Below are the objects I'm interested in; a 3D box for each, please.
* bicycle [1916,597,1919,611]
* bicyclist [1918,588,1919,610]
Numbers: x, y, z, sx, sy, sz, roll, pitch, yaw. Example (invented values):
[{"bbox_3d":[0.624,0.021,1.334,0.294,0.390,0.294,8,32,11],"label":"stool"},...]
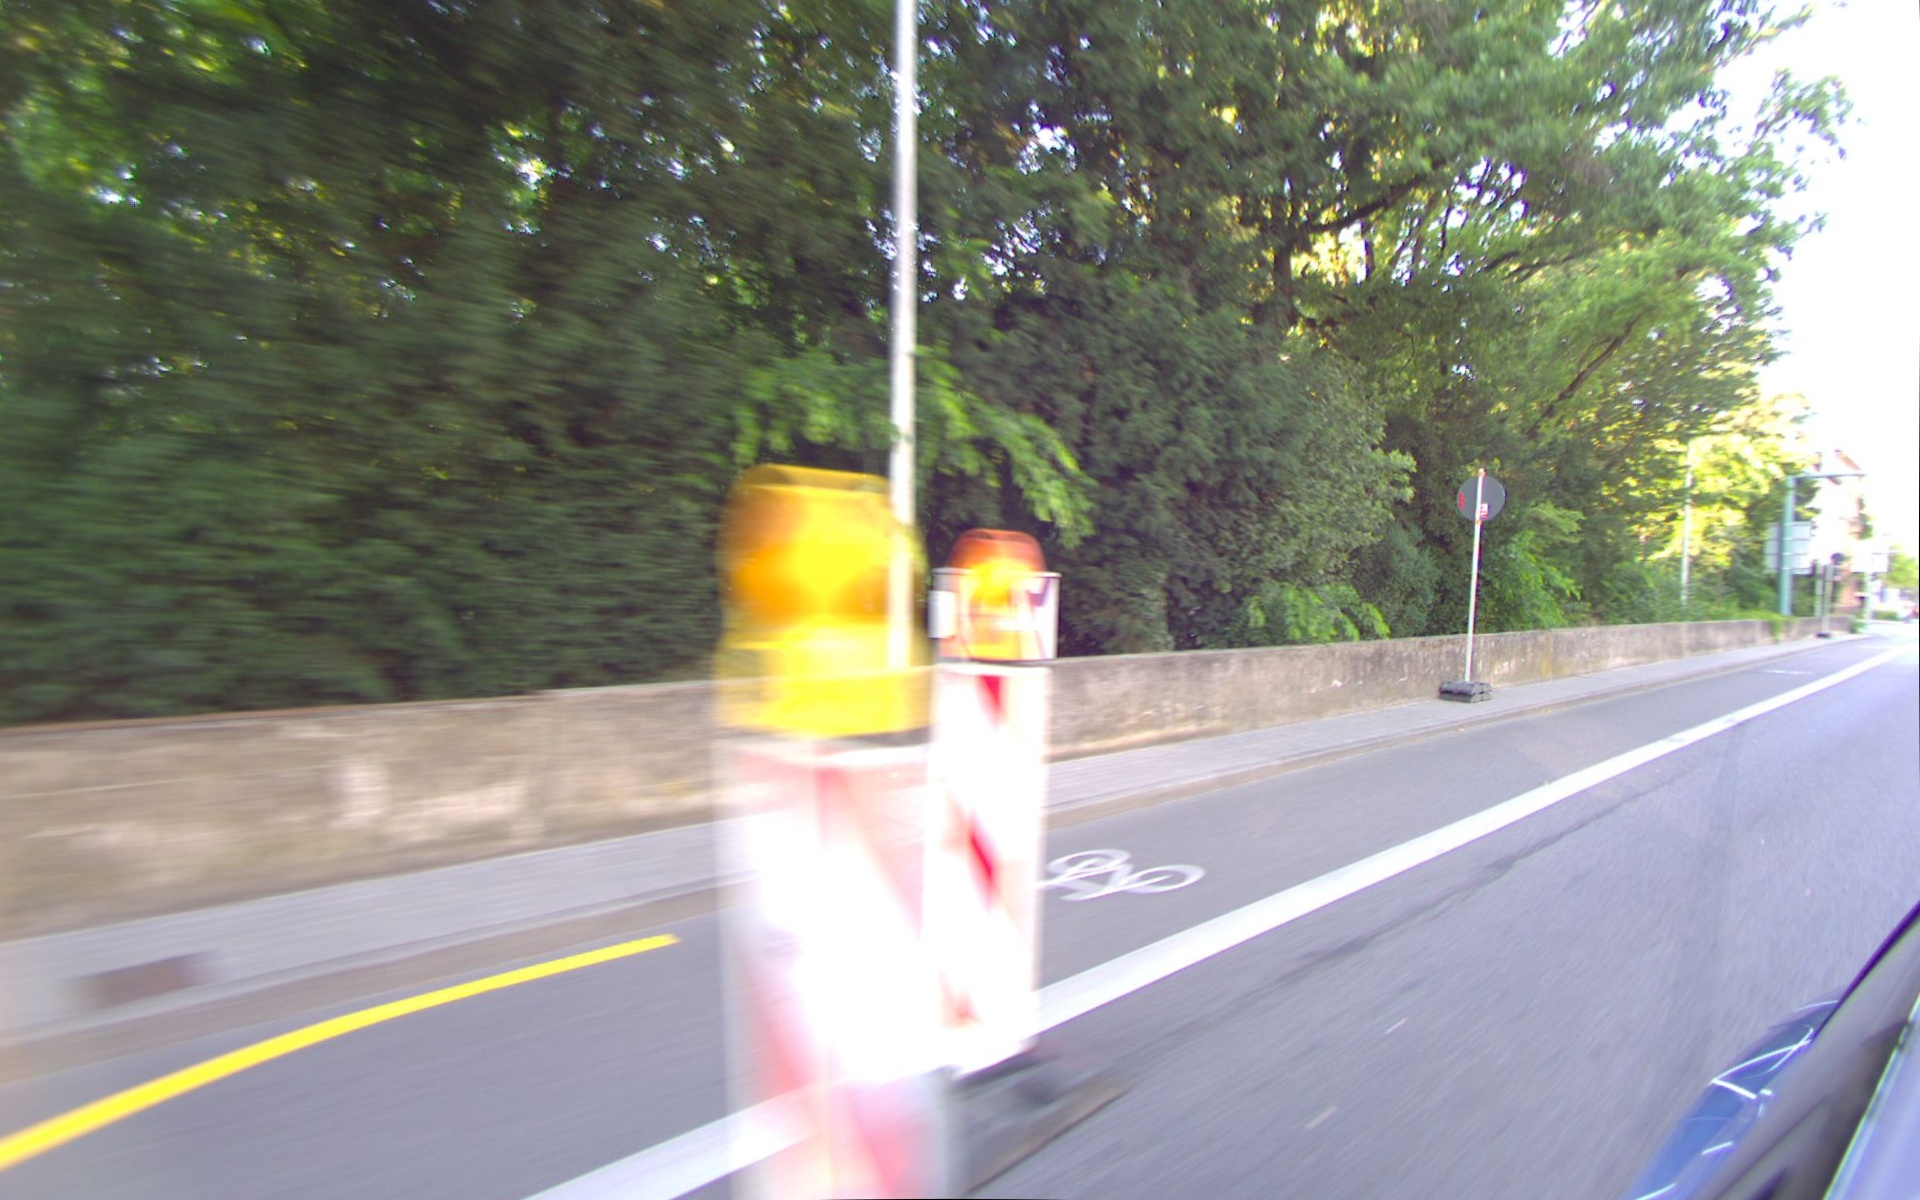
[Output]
[{"bbox_3d":[73.184,0.305,76.845,2.011,1.064,0.529,0,5,-40],"label":"bicycle"},{"bbox_3d":[73.231,-0.130,76.844,0.754,1.721,0.510,-1,5,-39],"label":"bicyclist"}]
